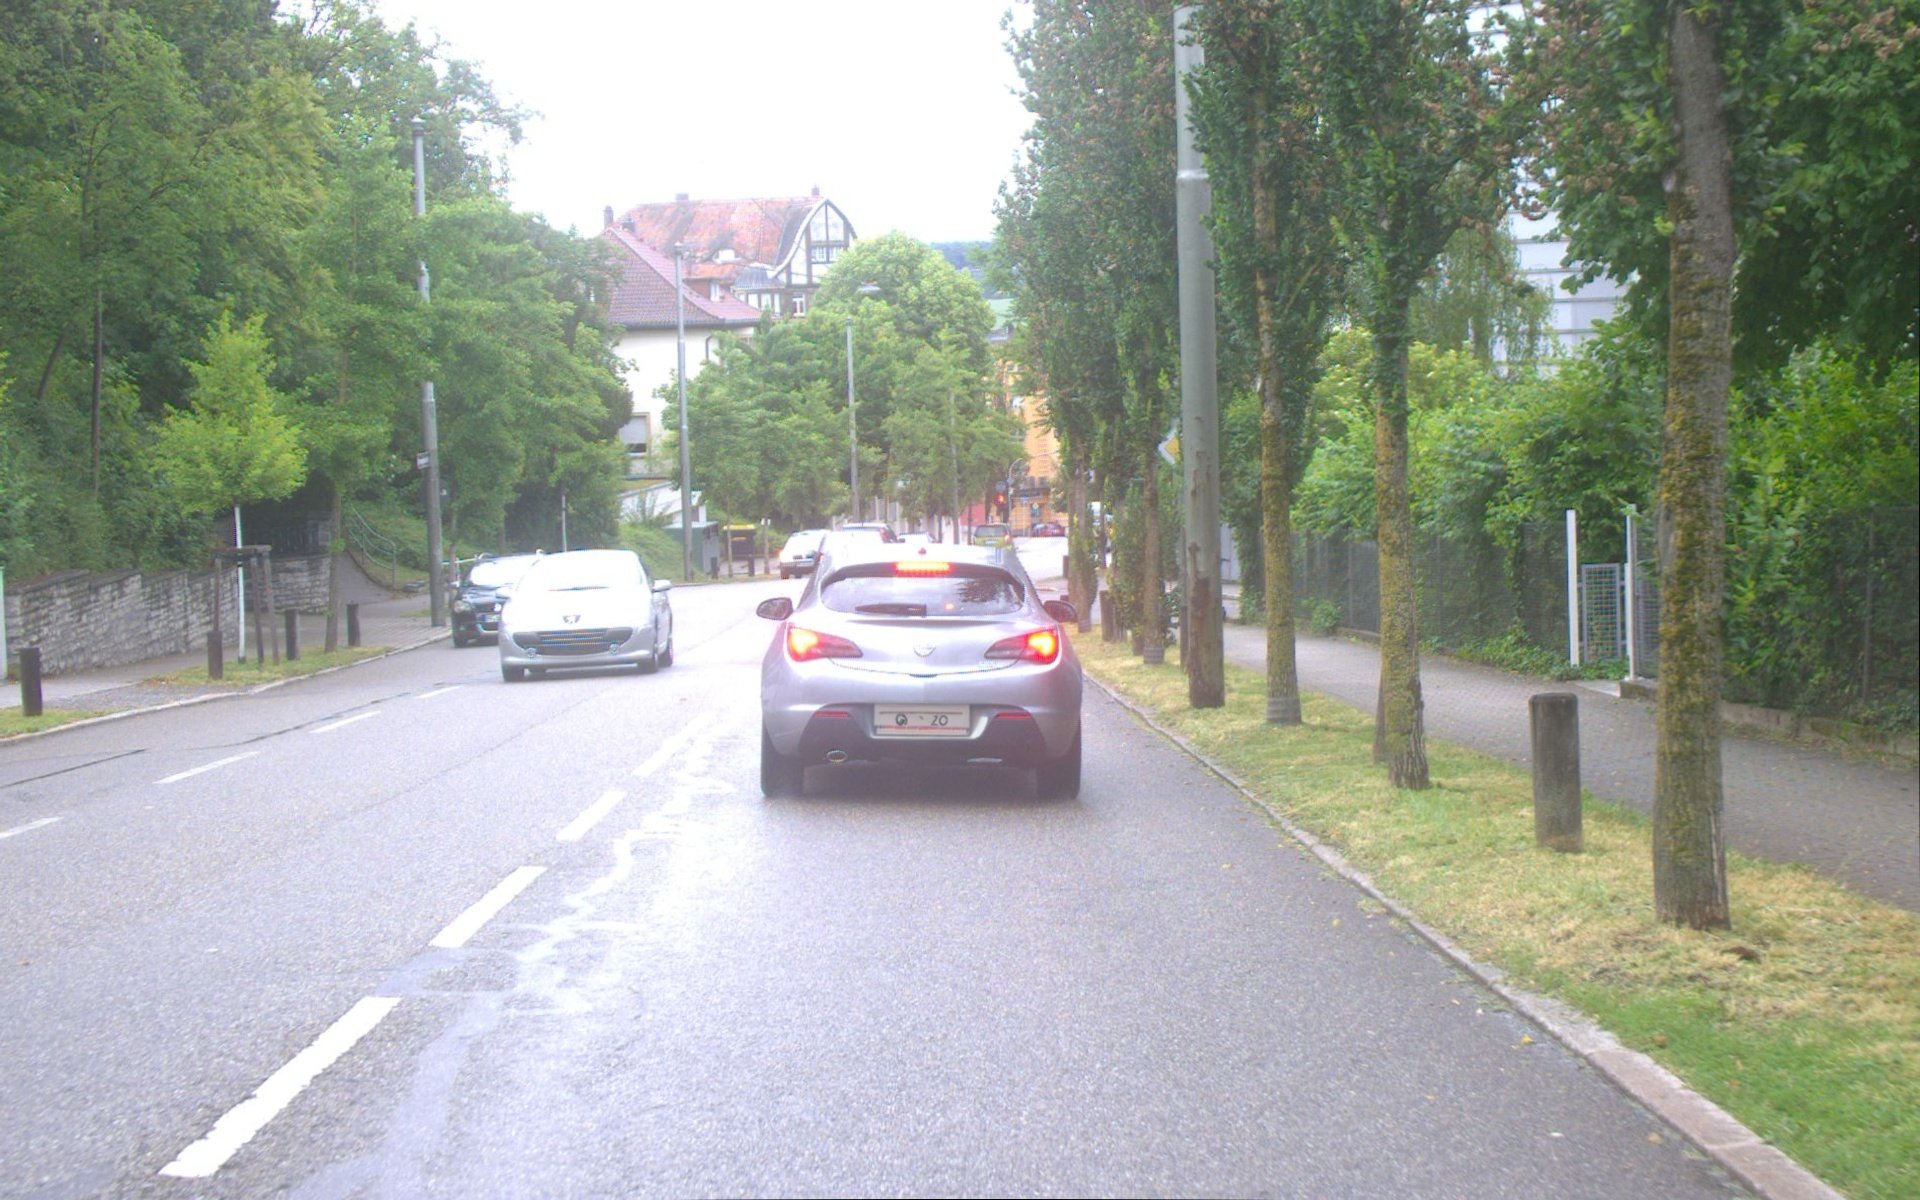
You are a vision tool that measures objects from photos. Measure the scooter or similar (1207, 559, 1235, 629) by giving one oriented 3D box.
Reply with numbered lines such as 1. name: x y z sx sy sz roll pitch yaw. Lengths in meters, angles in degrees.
1. scooter or similar: 4.666 -0.112 61.500 0.342 1.250 1.268 1 0 -2

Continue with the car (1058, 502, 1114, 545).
1. car: 6.265 -3.815 170.282 2.334 2.029 4.734 1 2 7

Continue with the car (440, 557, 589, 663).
1. car: -7.318 0.135 56.770 1.745 1.544 3.918 -5 1 1

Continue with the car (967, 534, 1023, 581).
1. car: 1.324 -1.582 126.949 1.754 1.645 4.000 1 1 5

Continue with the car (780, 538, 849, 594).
1. car: -4.396 -1.060 104.343 1.765 1.481 3.801 -3 2 1

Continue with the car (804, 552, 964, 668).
1. car: -0.900 0.089 42.631 1.798 1.318 4.000 -1 1 1

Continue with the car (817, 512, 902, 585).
1. car: -2.606 -1.358 89.767 1.769 1.775 3.976 1 2 5

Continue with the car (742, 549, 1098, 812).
1. car: -0.244 0.411 20.747 1.945 1.427 3.884 0 1 -1

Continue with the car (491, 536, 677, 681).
1. car: -4.239 0.065 39.247 1.761 1.481 4.000 -3 1 -2

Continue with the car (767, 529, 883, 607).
1. car: -2.809 -0.698 72.443 1.961 1.467 3.950 1 2 5
